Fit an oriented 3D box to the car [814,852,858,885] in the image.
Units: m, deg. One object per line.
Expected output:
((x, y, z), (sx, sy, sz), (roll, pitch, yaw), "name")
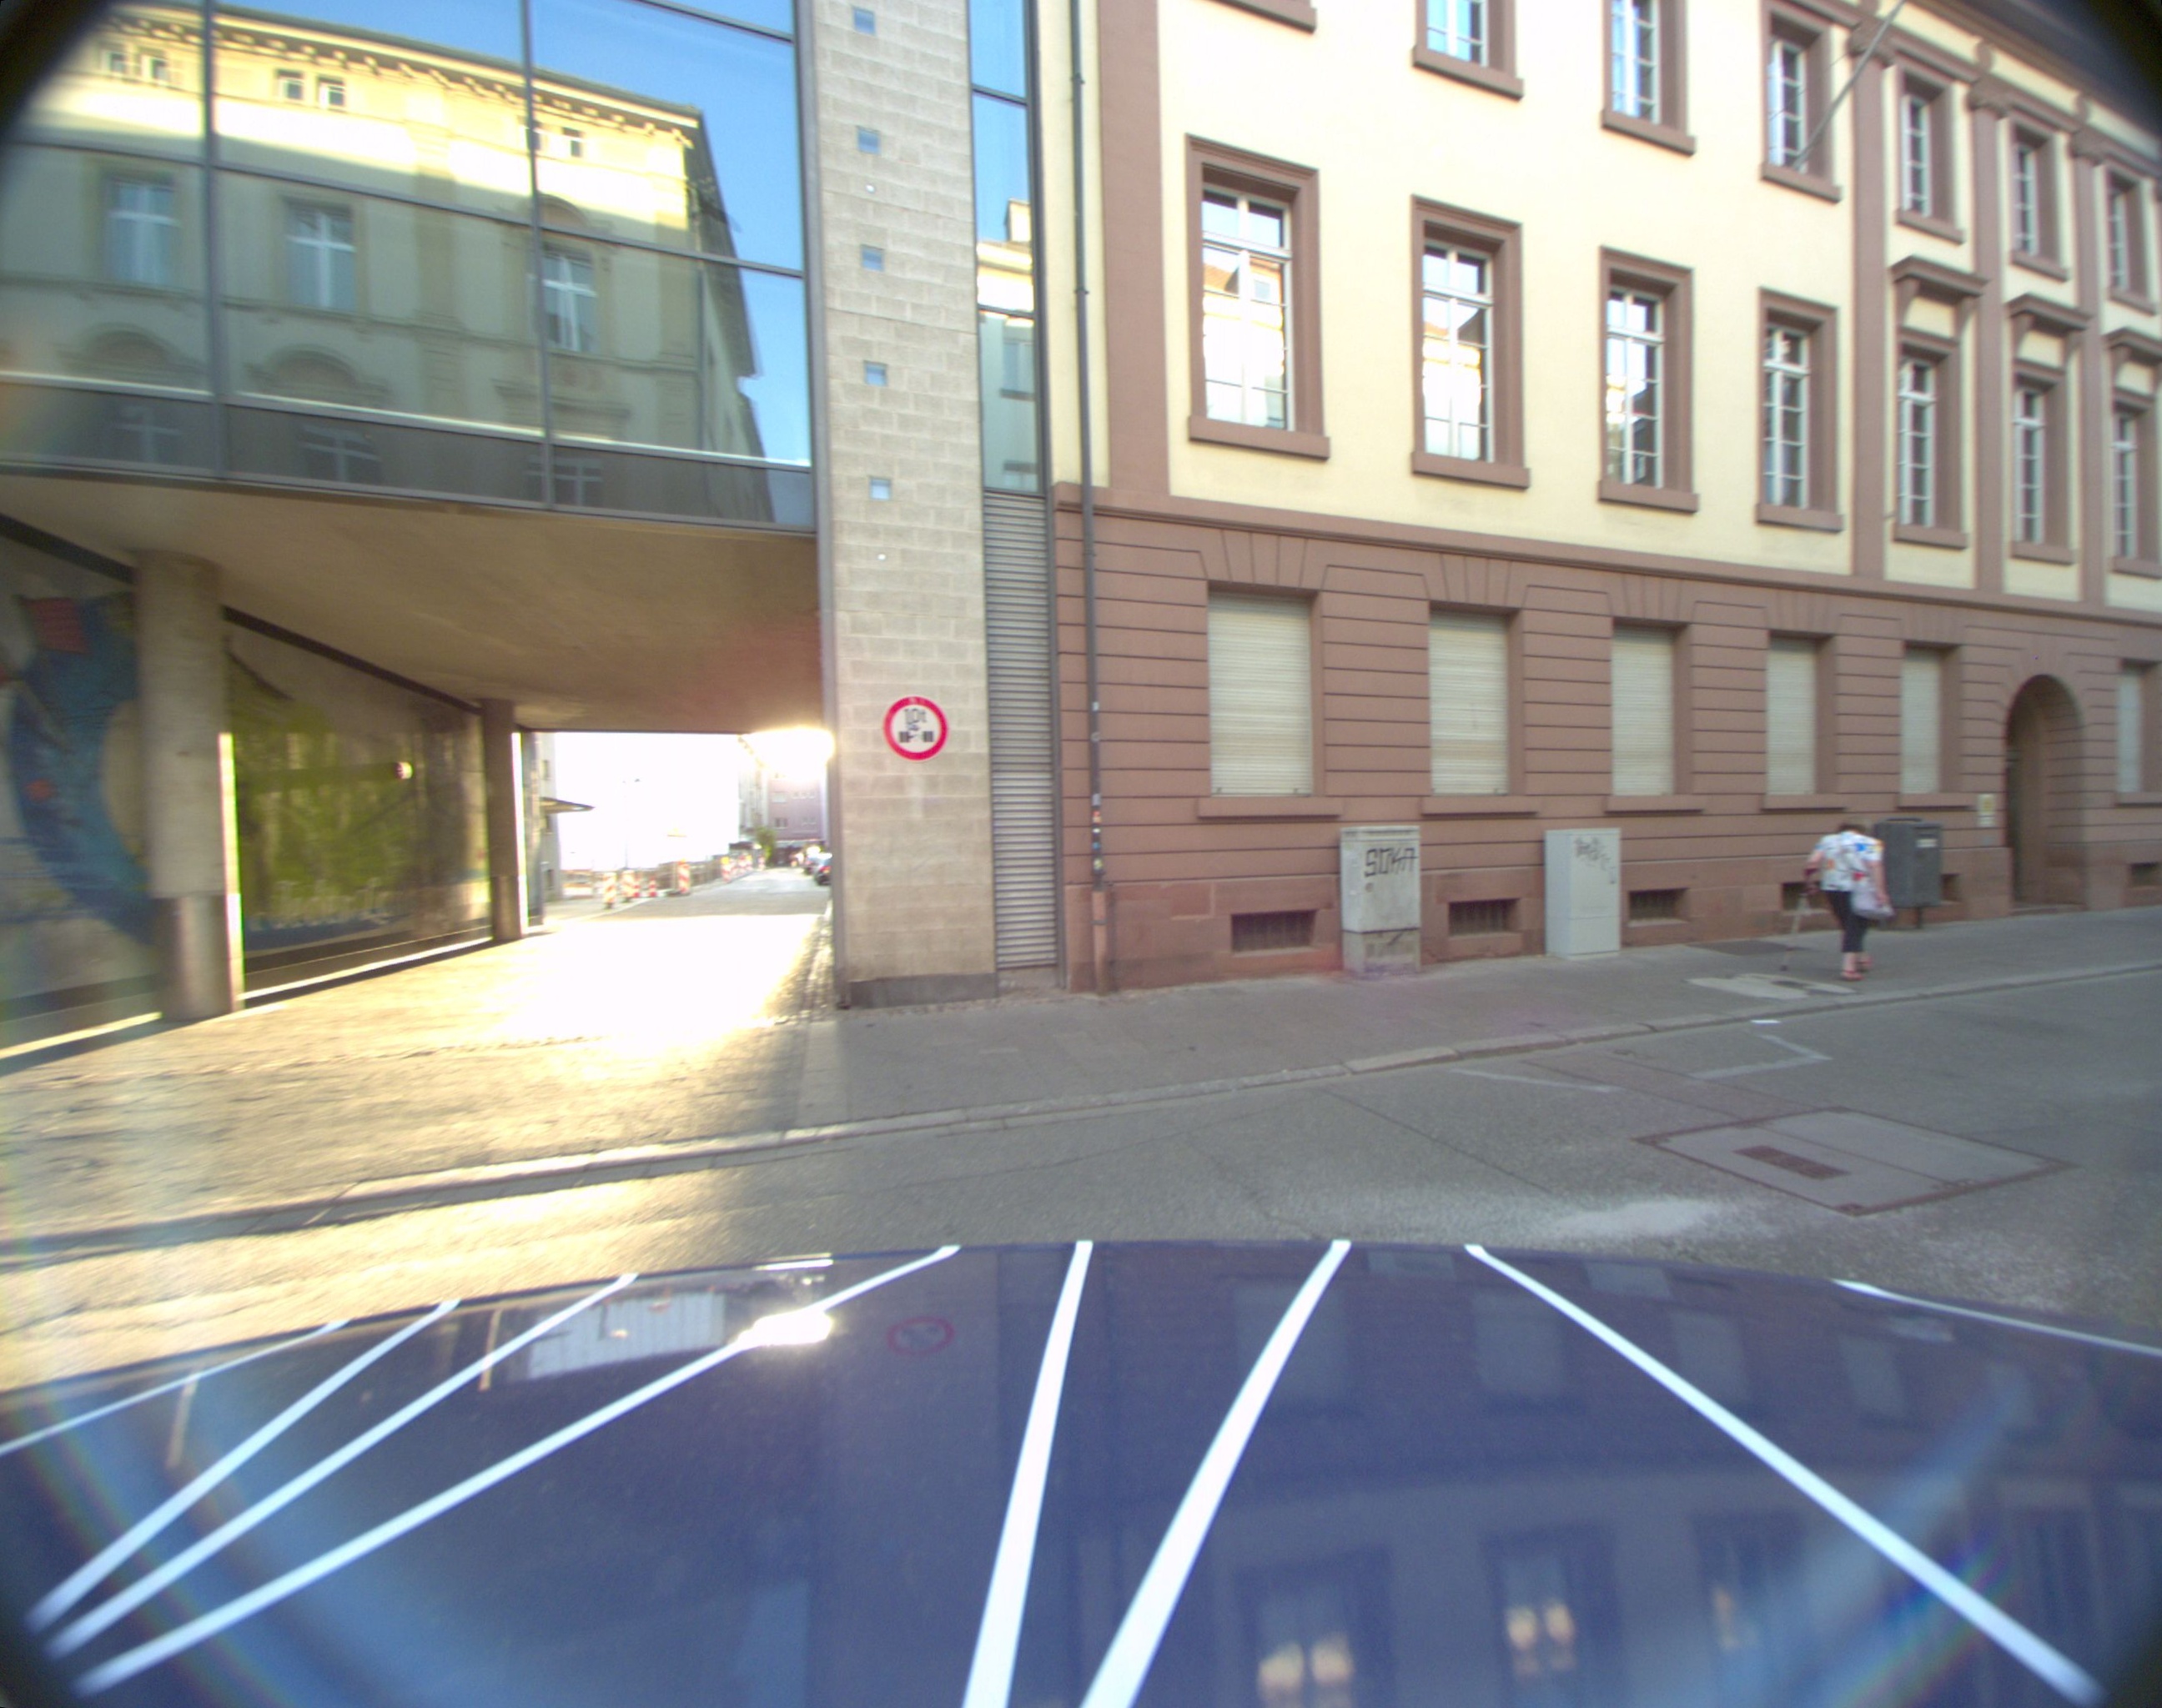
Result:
((-11.974, 0.665, 37.013), (1.604, 1.484, 3.437), (-2, 1, -25), "car")

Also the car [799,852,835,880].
((-15.246, 0.660, 43.836), (1.604, 1.484, 3.437), (-2, 1, -25), "car")

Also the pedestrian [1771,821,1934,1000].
((7.704, 0.523, 7.613), (0.931, 1.662, 0.810), (-2, 1, -19), "pedestrian")

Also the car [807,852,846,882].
((-13.568, 0.639, 40.408), (1.604, 1.484, 3.437), (-2, 1, -25), "car")

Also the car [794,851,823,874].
((-19.383, 0.582, 53.986), (1.604, 1.484, 3.437), (-2, 1, -25), "car")
